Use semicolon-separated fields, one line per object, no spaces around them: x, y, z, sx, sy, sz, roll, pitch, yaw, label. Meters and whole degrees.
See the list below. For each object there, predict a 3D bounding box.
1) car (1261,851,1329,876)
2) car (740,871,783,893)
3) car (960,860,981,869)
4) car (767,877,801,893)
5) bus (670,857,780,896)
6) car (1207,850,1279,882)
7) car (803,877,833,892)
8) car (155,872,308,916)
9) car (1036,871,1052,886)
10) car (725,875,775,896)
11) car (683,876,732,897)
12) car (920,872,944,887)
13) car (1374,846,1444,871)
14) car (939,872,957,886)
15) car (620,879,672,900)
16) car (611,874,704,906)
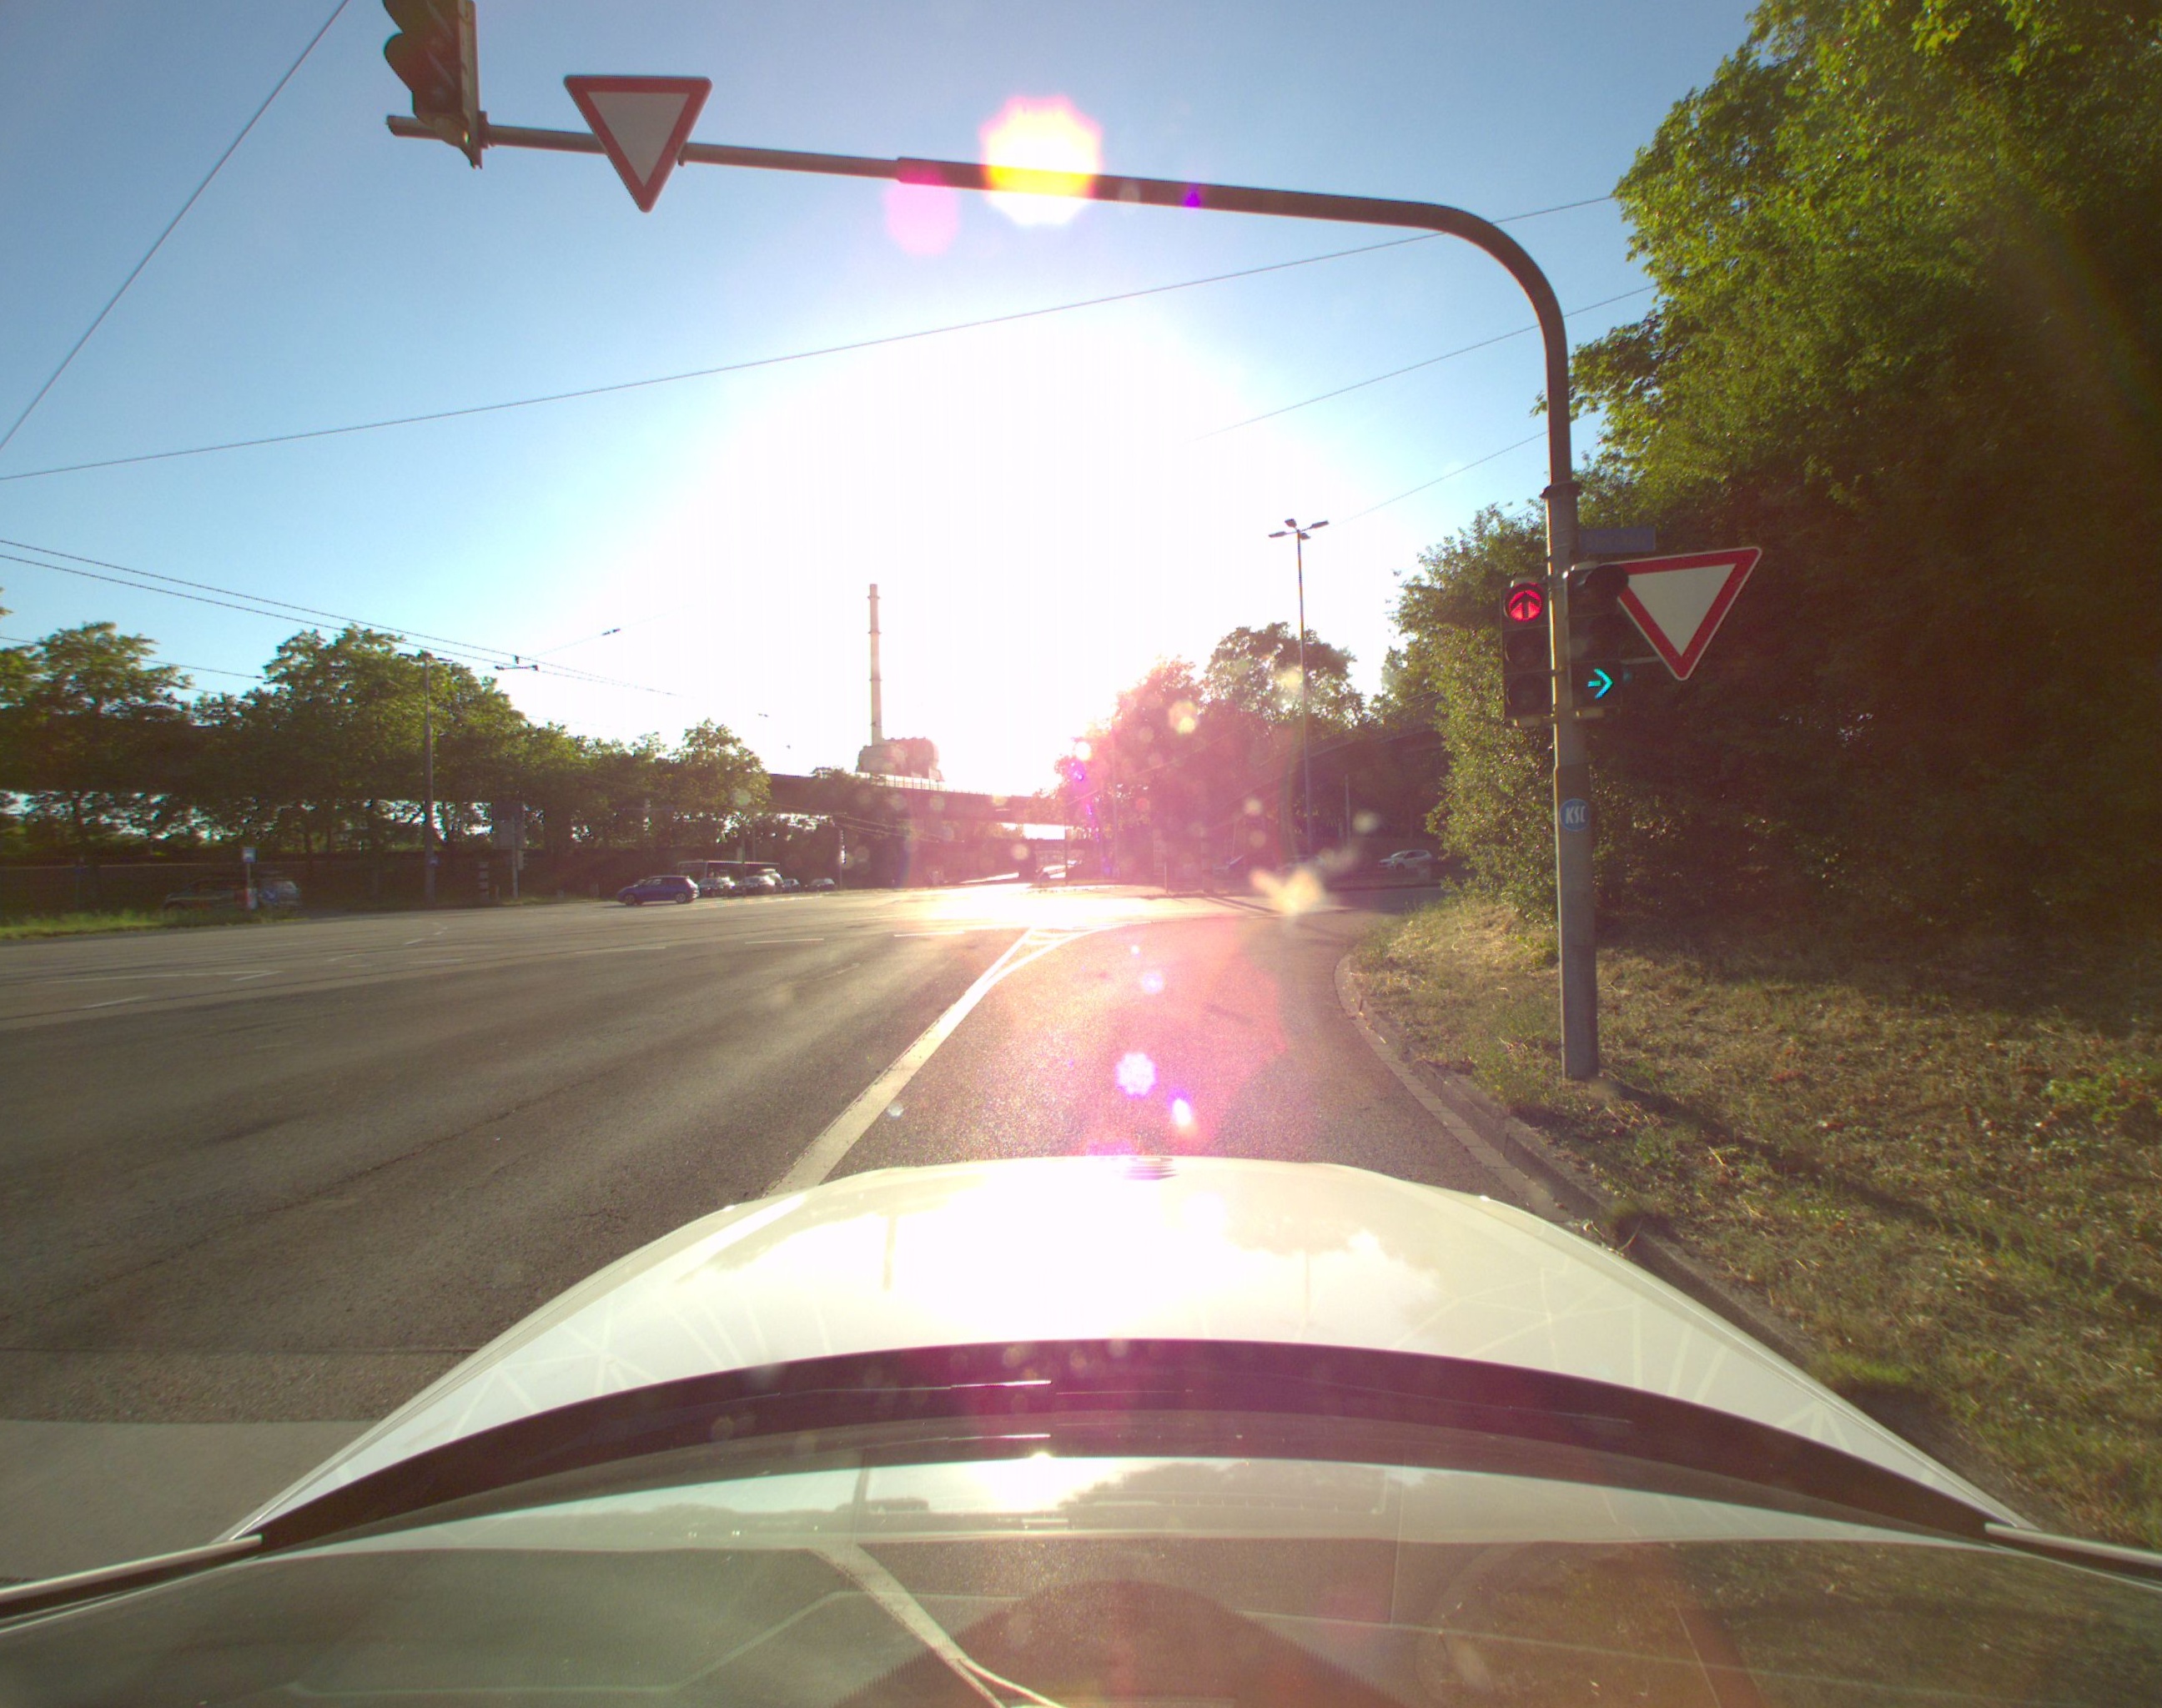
15.191;0.667;57.809;4.367;1.609;1.846;-1;-1;-17;car
-25.770;2.266;65.780;1.704;1.652;4.097;-1;-1;2;car
-22.294;2.116;164.445;1.974;1.771;4.025;-1;-1;34;car
-28.945;3.011;79.390;1.693;1.442;4.002;-1;-1;2;car
-29.596;1.788;68.699;2.810;2.954;12.865;-1;-1;4;bus
10.363;0.761;52.248;4.140;1.867;1.847;-1;-1;-16;car
-27.822;3.174;86.139;1.693;1.442;4.002;-1;-1;2;car
-40.487;1.862;38.933;4.694;1.905;1.991;-1;-1;-13;car
-4.374;2.855;96.286;1.706;1.652;4.216;-1;-1;-1;car
-23.582;2.212;58.132;1.704;1.354;4.097;-1;-1;2;car
-26.417;2.287;57.757;1.599;1.354;3.999;-1;-1;0;car
-22.873;3.884;124.954;1.983;2.014;5.436;-2;0;7;car
22.679;0.318;56.369;4.304;1.609;1.846;-1;-1;-17;car
-16.786;3.194;102.705;1.706;1.652;4.091;-1;-1;-2;car
-30.177;2.443;56.652;1.599;1.354;3.733;-1;-1;0;car
-22.255;1.868;42.963;3.927;1.559;1.991;-1;-1;-14;car
